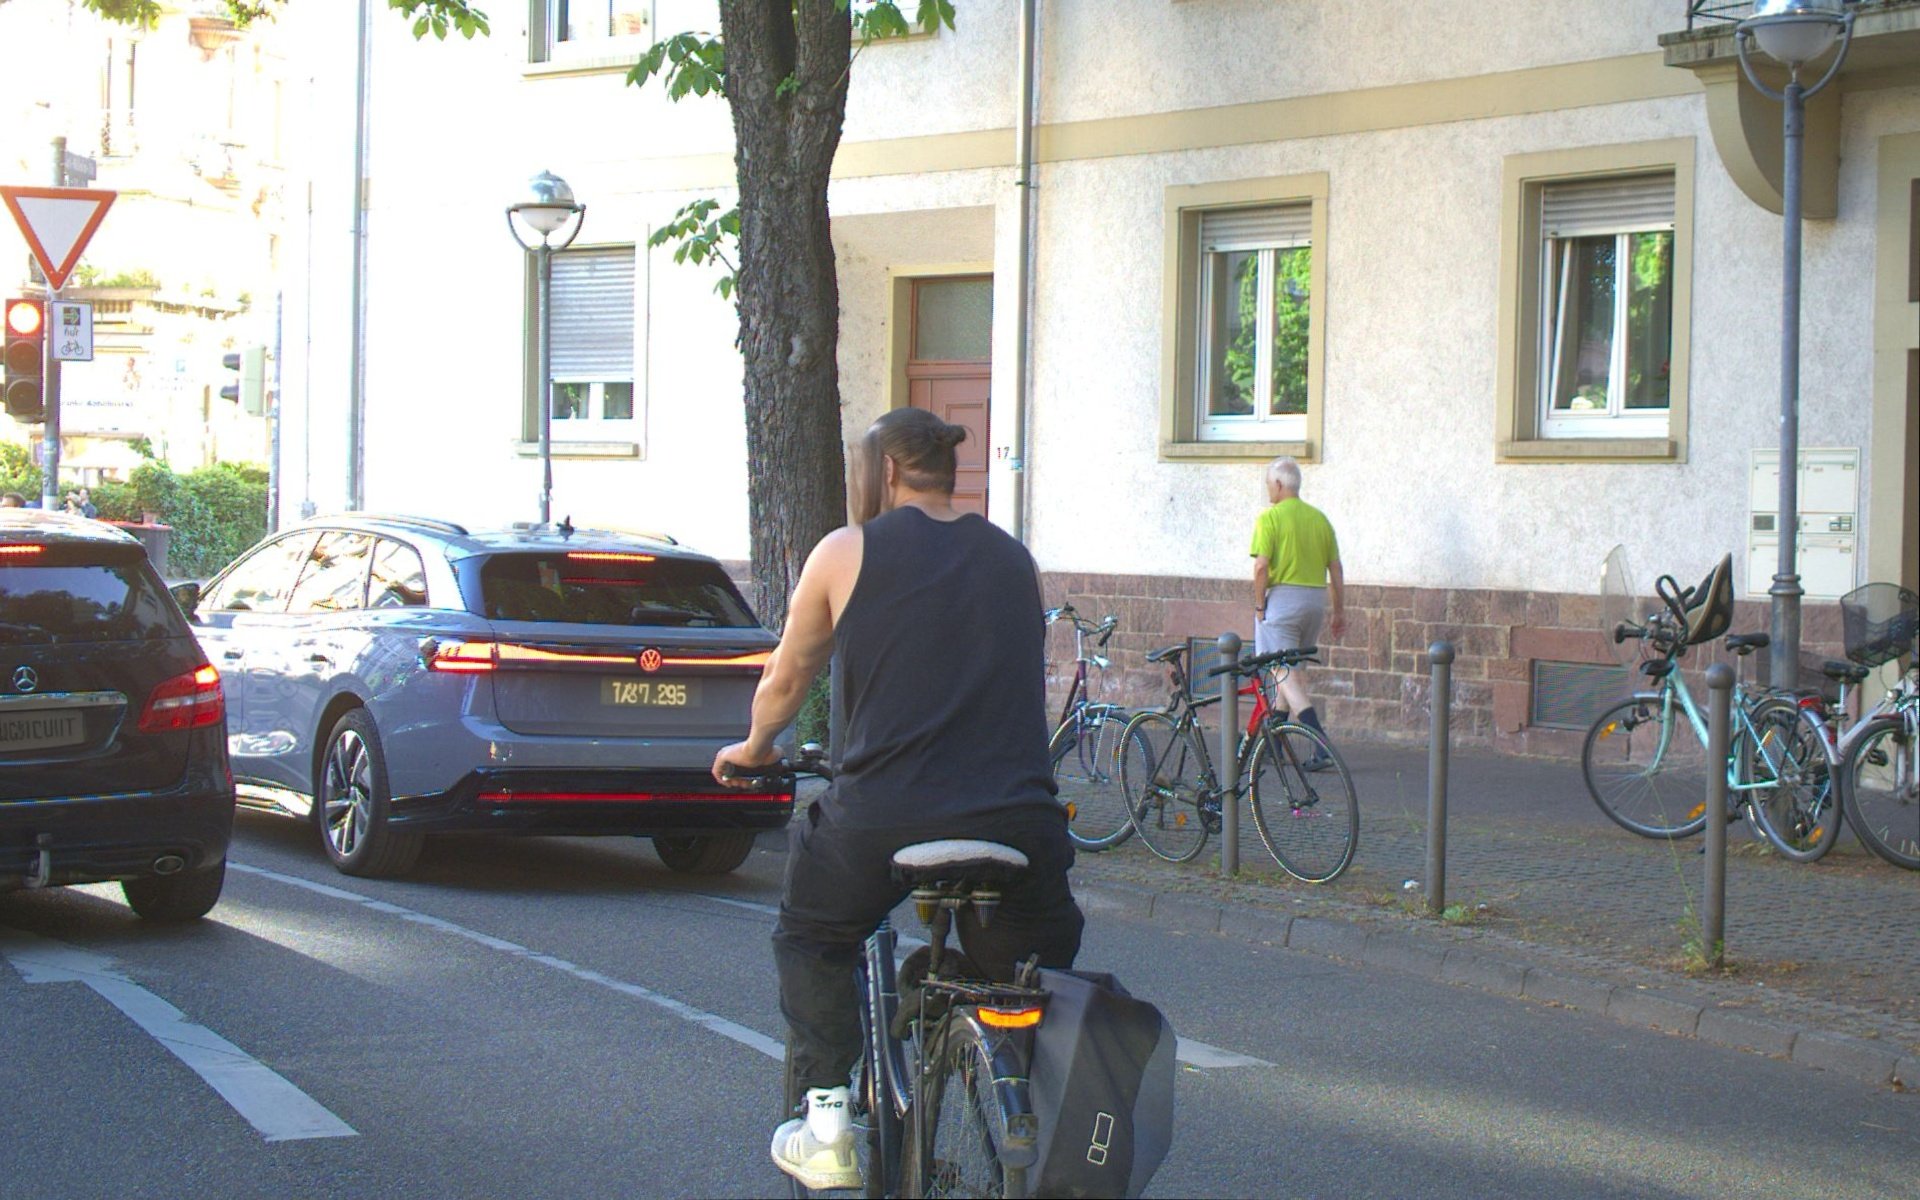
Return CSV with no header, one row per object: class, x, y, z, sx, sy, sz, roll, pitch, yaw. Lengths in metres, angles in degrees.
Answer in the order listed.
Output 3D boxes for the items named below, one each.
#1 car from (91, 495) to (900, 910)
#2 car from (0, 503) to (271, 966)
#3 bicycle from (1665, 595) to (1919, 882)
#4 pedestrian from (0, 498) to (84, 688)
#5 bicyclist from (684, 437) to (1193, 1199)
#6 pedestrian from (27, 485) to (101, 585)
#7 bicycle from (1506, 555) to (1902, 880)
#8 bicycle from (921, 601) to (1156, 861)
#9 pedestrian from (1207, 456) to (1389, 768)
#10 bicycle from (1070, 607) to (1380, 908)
car,-2.302,0.386,15.819,1.970,1.580,4.475,3,0,-32
car,-4.246,0.408,13.189,1.790,1.536,3.860,-2,2,-34
bicycle,3.892,0.567,14.937,0.667,1.103,1.967,1,1,-19
pedestrian,-8.352,-0.076,30.620,0.901,1.629,0.726,3,2,-21
bicyclist,-0.070,0.542,6.236,0.686,1.650,0.990,0,2,-15
pedestrian,-15.525,-1.125,59.565,0.711,1.659,0.896,6,3,34
bicycle,3.180,0.461,14.918,0.717,1.273,1.967,-1,2,-21
bicycle,0.343,0.580,16.033,0.480,1.060,1.636,-2,3,-22
pedestrian,1.922,0.047,19.629,0.643,1.721,0.888,-2,3,-27
bicycle,1.084,0.624,14.460,0.526,1.103,1.741,-2,3,-24
